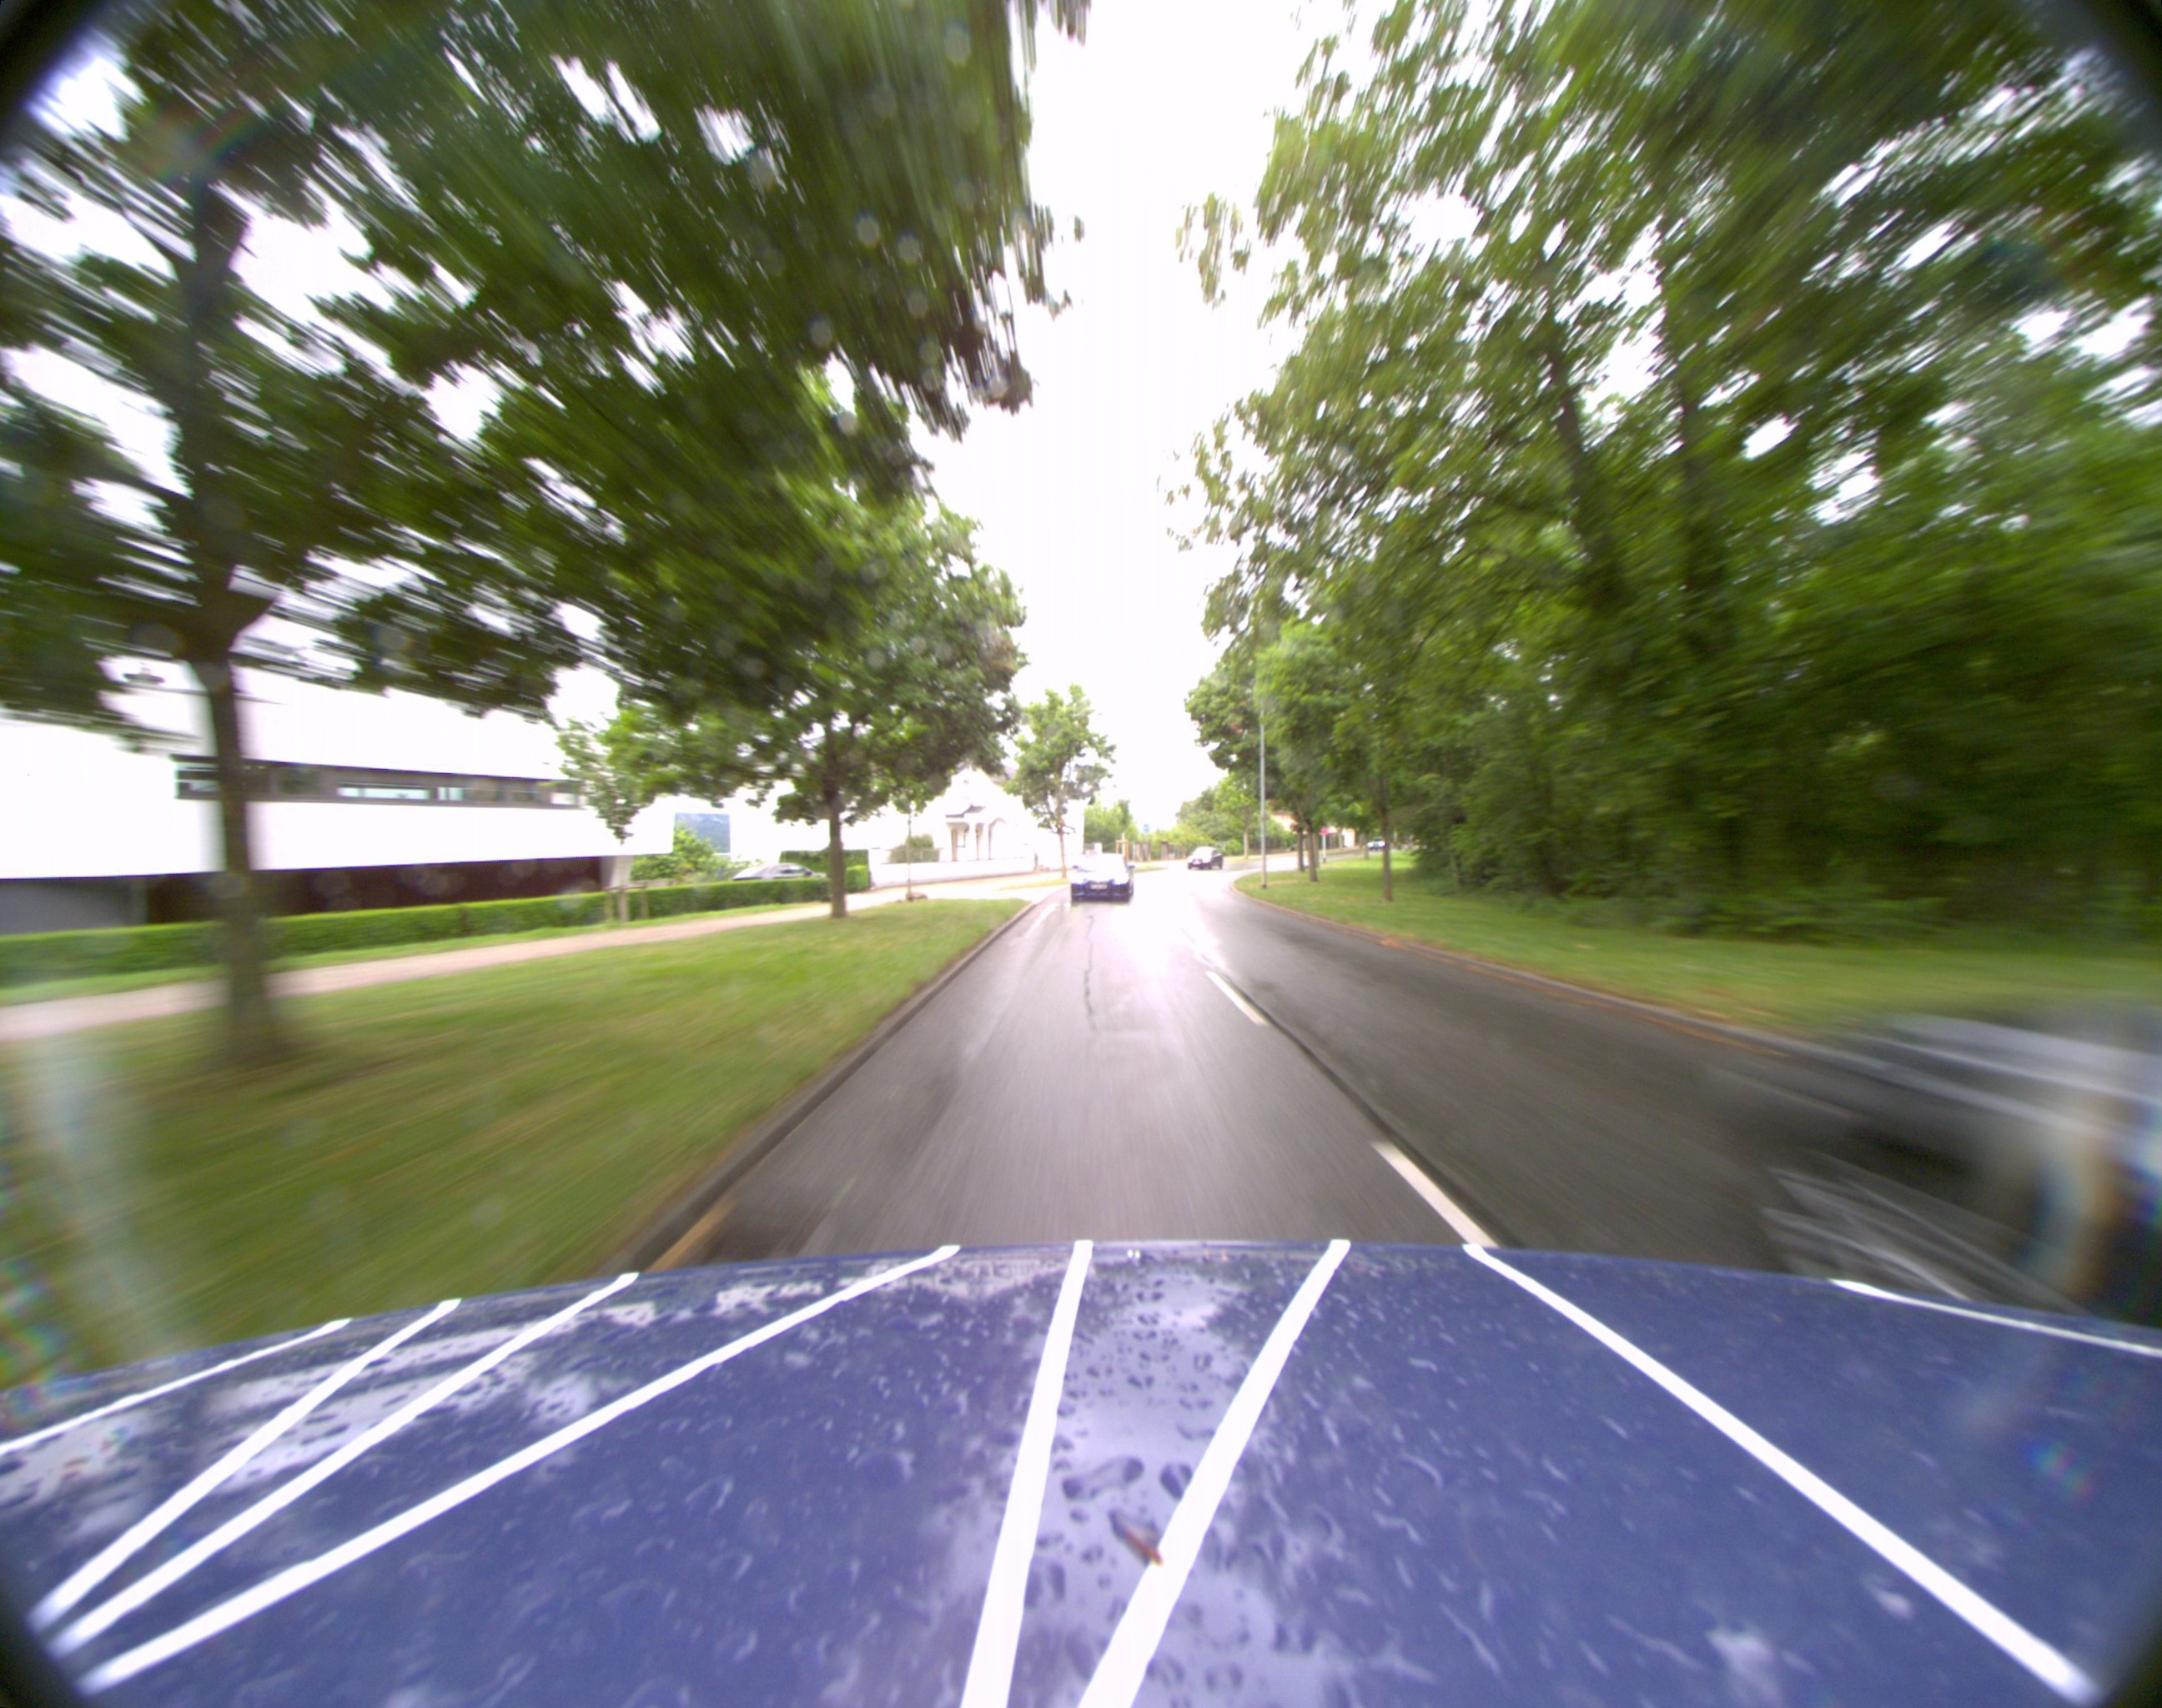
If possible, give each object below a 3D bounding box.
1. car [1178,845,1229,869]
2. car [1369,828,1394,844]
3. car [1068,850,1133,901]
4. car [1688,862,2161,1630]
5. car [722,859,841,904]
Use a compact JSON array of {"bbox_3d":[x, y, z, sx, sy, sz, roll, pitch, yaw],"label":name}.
[{"bbox_3d":[8.671,0.182,53.570,1.926,1.374,4.315,-3,1,33],"label":"car"},{"bbox_3d":[37.645,-2.255,95.144,1.995,1.848,4.007,-3,1,35],"label":"car"},{"bbox_3d":[0.713,0.655,24.964,1.814,1.459,3.976,-2,1,5],"label":"car"},{"bbox_3d":[3.104,0.810,0.705,1.794,1.528,4.092,-2,0,0],"label":"car"},{"bbox_3d":[-12.495,1.120,32.040,1.922,1.541,4.466,-3,1,25],"label":"car"}]
